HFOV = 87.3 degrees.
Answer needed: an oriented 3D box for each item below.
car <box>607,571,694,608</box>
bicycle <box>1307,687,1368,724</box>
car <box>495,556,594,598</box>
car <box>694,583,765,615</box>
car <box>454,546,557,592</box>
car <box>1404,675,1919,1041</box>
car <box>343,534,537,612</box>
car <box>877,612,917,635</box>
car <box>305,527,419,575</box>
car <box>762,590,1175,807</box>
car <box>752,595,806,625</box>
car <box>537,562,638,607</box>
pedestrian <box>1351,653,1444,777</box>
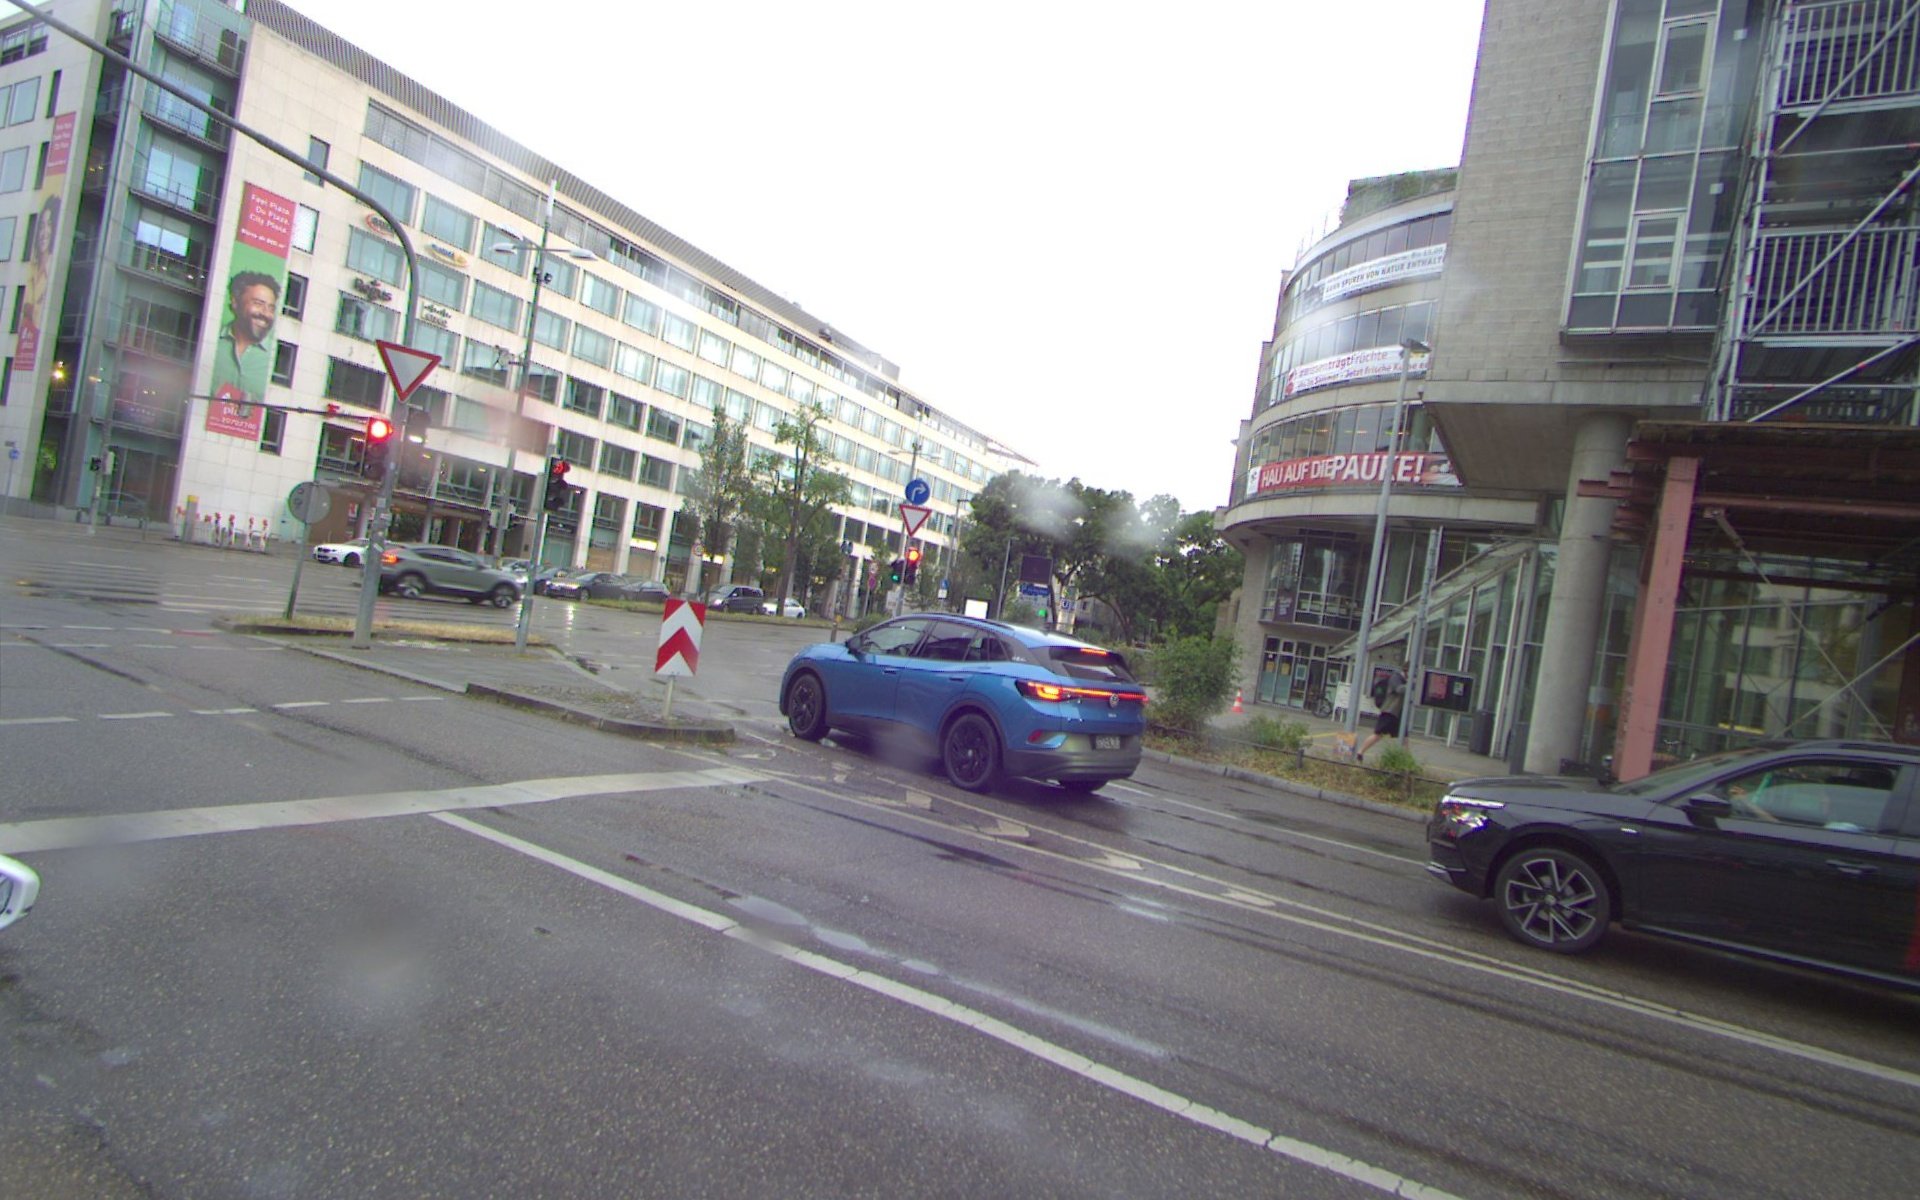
[{"bbox_3d":[-16.156,-0.506,52.808,1.891,1.364,4.654,7,-1,18],"label":"car"},{"bbox_3d":[13.360,3.729,35.674,1.816,0.995,0.757,8,-1,12],"label":"bicycle"},{"bbox_3d":[-19.135,-1.013,46.552,1.690,1.364,4.469,7,-1,17],"label":"car"},{"bbox_3d":[-13.960,-0.024,61.238,1.891,1.364,4.653,7,-1,19],"label":"car"},{"bbox_3d":[-21.924,-1.462,48.763,1.962,1.616,4.469,7,-1,17],"label":"car"},{"bbox_3d":[5.183,1.558,6.234,4.080,1.558,1.780,7,-1,34],"label":"car"},{"bbox_3d":[-15.110,-0.750,29.427,1.971,1.568,4.539,7,-1,39],"label":"car"},{"bbox_3d":[-5.541,2.106,88.730,1.700,1.642,4.196,9,0,22],"label":"car"},{"bbox_3d":[-28.713,-2.332,48.479,1.962,1.616,4.469,7,-1,17],"label":"car"},{"bbox_3d":[-0.120,0.914,10.657,1.699,1.547,4.373,9,-1,-43],"label":"car"},{"bbox_3d":[-12.964,0.739,72.321,1.700,1.642,4.196,9,0,22],"label":"car"},{"bbox_3d":[-16.572,-0.649,45.010,1.690,1.481,4.468,7,-1,19],"label":"car"},{"bbox_3d":[7.252,1.898,16.707,0.678,1.875,1.043,7,0,-43],"label":"pedestrian"}]
